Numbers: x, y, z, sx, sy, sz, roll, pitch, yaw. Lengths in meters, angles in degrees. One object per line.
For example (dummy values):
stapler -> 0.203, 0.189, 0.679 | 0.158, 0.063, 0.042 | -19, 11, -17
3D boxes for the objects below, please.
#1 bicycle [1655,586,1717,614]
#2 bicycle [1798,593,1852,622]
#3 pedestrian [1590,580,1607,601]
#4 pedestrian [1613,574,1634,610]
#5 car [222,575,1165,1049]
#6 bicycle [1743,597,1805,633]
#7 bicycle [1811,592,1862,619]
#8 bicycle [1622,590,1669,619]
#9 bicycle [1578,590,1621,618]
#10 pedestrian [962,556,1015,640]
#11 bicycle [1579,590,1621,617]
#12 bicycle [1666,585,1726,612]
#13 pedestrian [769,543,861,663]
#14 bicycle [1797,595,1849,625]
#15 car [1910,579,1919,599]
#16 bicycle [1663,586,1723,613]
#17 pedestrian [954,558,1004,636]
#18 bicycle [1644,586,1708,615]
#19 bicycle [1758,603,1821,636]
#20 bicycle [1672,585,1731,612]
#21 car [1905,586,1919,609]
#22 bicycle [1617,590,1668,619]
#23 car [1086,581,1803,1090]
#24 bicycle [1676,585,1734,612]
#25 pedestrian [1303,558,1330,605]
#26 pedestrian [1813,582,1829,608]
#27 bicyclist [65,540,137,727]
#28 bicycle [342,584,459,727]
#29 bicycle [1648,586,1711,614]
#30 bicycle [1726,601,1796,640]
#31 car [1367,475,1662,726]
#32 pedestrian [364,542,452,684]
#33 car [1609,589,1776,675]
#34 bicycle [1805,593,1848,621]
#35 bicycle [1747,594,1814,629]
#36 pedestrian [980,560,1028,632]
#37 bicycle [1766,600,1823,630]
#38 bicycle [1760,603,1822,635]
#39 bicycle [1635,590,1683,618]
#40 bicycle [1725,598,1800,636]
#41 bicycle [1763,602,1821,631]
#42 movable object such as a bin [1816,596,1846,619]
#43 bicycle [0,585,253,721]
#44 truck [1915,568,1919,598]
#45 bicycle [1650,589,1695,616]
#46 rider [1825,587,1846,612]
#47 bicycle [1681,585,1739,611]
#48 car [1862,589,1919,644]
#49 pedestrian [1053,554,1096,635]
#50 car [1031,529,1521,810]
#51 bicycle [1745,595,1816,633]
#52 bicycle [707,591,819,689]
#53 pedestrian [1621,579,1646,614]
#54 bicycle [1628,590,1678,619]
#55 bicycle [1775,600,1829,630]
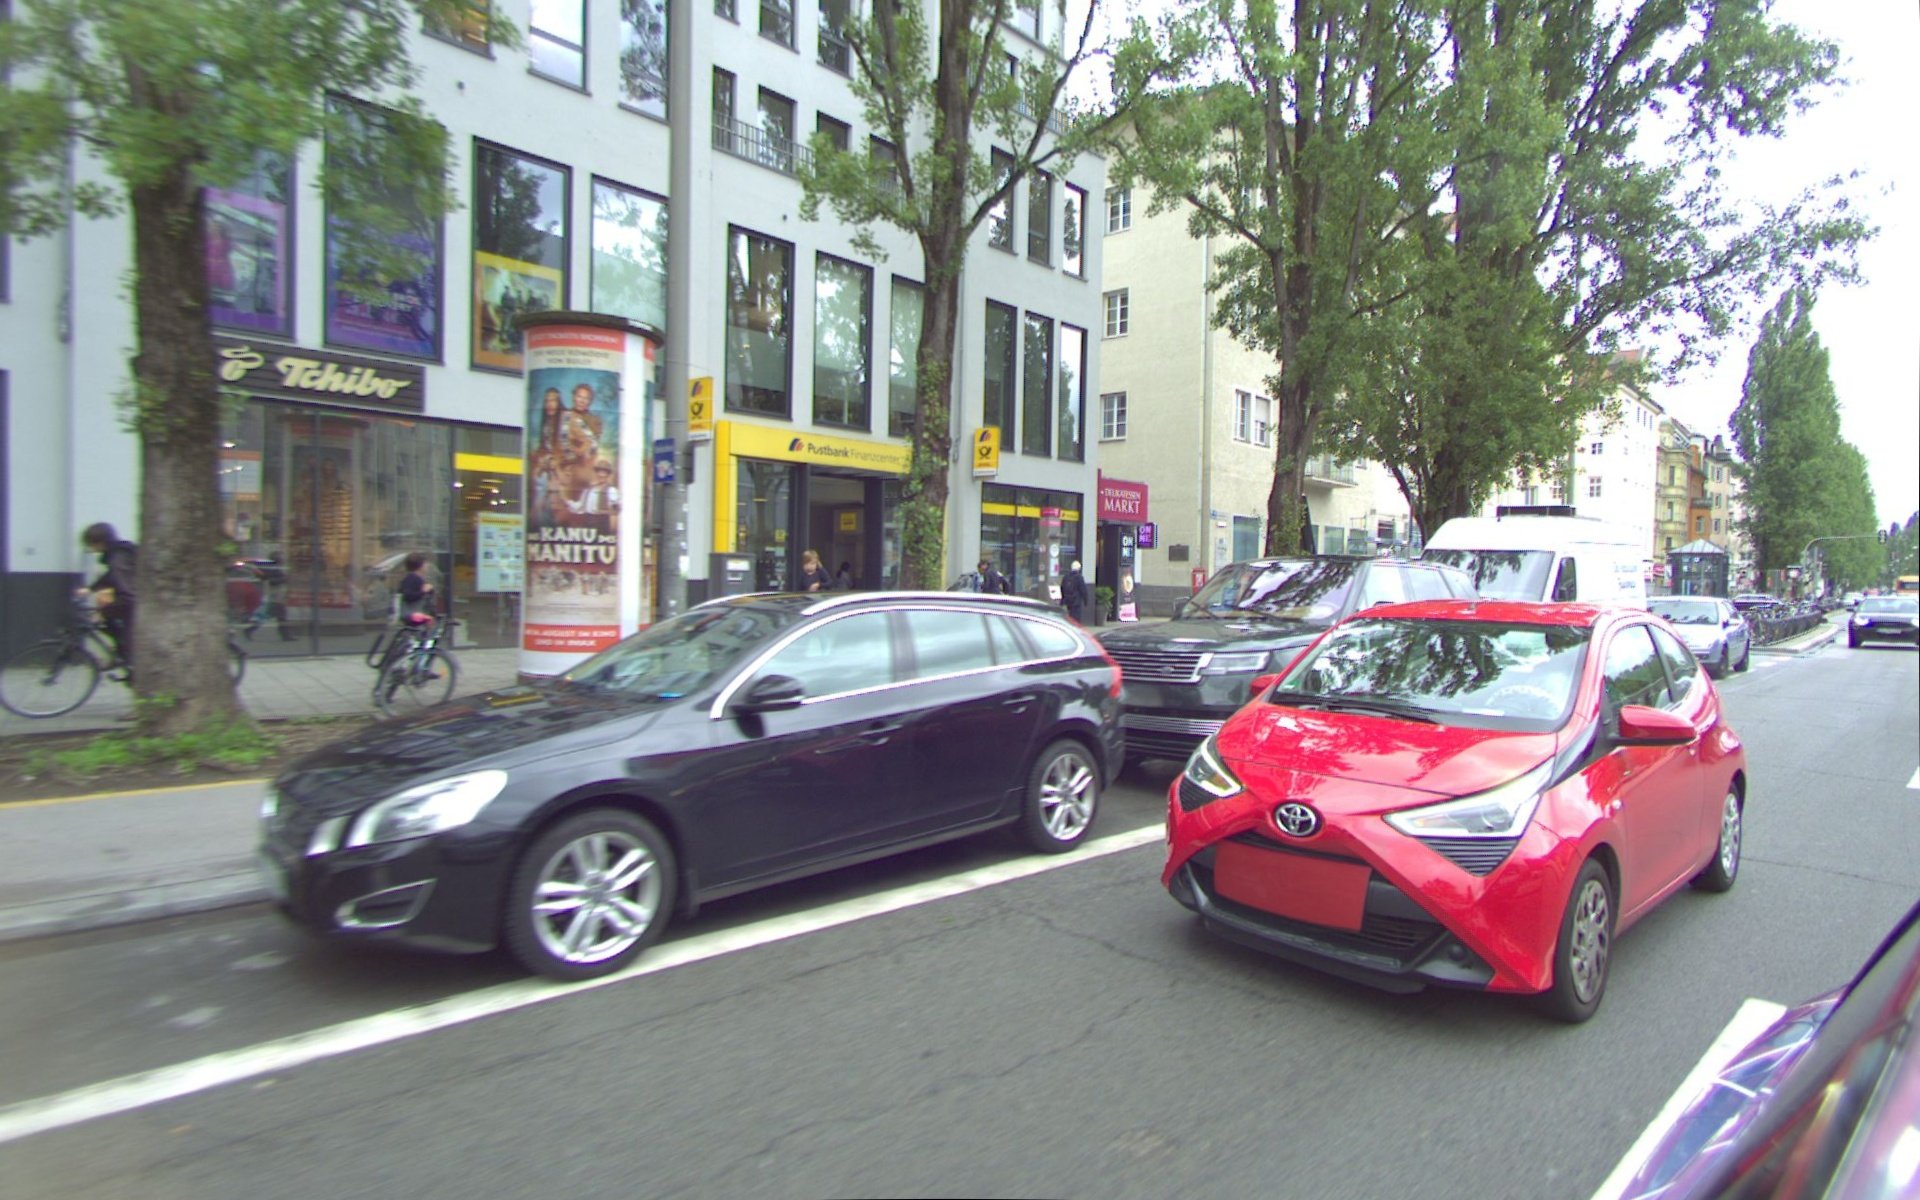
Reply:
bicycle -> 35.121, -0.018, 48.998 | 0.617, 1.242, 2.315 | 0, 2, -42
bicycle -> 36.934, 0.308, 43.253 | 0.578, 1.151, 1.799 | 0, 1, -9
pedestrian -> 39.301, -0.583, 62.289 | 0.699, 1.260, 0.905 | 3, 4, 43
pedestrian -> 30.439, -0.385, 46.431 | 0.654, 1.602, 0.533 | 2, 1, 21
car -> -0.985, 0.633, 5.295 | 4.494, 1.451, 1.773 | 0, 0, -43
bicycle -> 24.787, 0.460, 30.842 | 0.360, 1.068, 1.802 | 0, -2, -2
bicycle -> 39.331, 0.248, 45.427 | 0.468, 1.151, 1.789 | 0, 1, -11
bicycle -> 28.312, 0.177, 41.807 | 1.525, 1.091, 0.404 | 4, 3, 44
bicycle -> 26.775, 0.169, 42.363 | 1.445, 1.091, 0.405 | 4, 3, 37
pedestrian -> 0.583, -0.055, 20.714 | 0.691, 1.669, 0.785 | 3, 2, 45
bicycle -> 27.411, 0.143, 43.362 | 1.445, 1.091, 0.405 | 4, 3, 37
bicycle -> 37.061, -0.071, 50.983 | 0.617, 1.242, 2.315 | 0, 2, -42
pedestrian -> -2.086, 0.025, 14.586 | 1.006, 1.657, 0.800 | 0, 2, -44
bicycle -> 34.657, 0.377, 40.663 | 0.480, 1.151, 1.796 | 0, 1, -1
car -> 84.562, -0.941, 88.708 | 1.854, 1.726, 3.937 | 4, 3, 43
bicycle -> 36.527, -0.057, 50.466 | 0.617, 1.242, 2.328 | 0, 2, -42
pedestrian -> 0.406, -0.076, 21.611 | 0.691, 1.604, 0.760 | 3, 2, 45
bicycle -> 34.031, 0.005, 48.150 | 0.617, 1.242, 2.366 | 0, 2, -42
bicycle -> 27.204, 0.648, 33.228 | 0.378, 1.024, 1.803 | 0, -2, -7
bicycle -> 37.621, -0.082, 51.368 | 0.617, 1.242, 2.315 | 0, 2, -42
car -> 69.605, -0.167, 72.962 | 1.993, 1.660, 3.939 | 3, 2, 42
bicycle -> 28.572, 0.185, 42.393 | 0.403, 1.091, 1.659 | 0, 3, -43
car -> 2.416, 0.655, 4.715 | 3.531, 1.464, 1.669 | -1, 1, -39
bicycle -> 38.094, -0.093, 51.775 | 0.617, 1.242, 2.315 | 0, 2, -42
pedestrian -> 13.038, -0.684, 37.011 | 0.751, 1.671, 0.602 | 0, 2, -39
pedestrian -> 60.659, -0.363, 71.338 | 0.728, 1.823, 0.702 | 3, 4, 36
bicyclist -> -7.040, 0.247, 8.301 | 0.432, 1.466, 0.640 | 0, 2, -40
bicycle -> -5.175, 0.465, 9.431 | 0.875, 1.153, 1.517 | 1, 3, -27
bicycle -> 34.530, -0.007, 48.595 | 0.617, 1.242, 2.341 | 0, 2, -42
bicycle -> 22.275, 0.574, 28.168 | 0.535, 1.068, 1.577 | 0, -2, -7
car -> 7.735, -0.063, 13.813 | 5.463, 2.775, 1.995 | -1, 1, -44
pedestrian -> -6.394, 0.127, 11.726 | 0.738, 1.577, 0.683 | 0, 2, -43
car -> 14.020, 0.536, 19.293 | 4.075, 1.472, 1.728 | 0, 0, -41
bicycle -> 37.391, 0.297, 43.684 | 0.341, 1.151, 1.528 | 0, 1, -9
bicycle -> 26.738, 0.396, 33.008 | 0.535, 1.119, 1.803 | 0, -2, -7
pedestrian -> 0.988, -0.102, 22.836 | 0.765, 1.554, 0.698 | 4, 3, 45
bicycle -> 30.538, 0.576, 37.057 | 0.389, 1.073, 1.803 | 0, -2, -7
bicycle -> 27.598, 0.636, 33.647 | 0.378, 1.024, 1.803 | 0, -2, -7
bicycle -> 30.044, 0.153, 43.526 | 1.601, 1.091, 0.404 | 4, 3, 44
bicycle -> 23.285, 0.499, 29.403 | 0.535, 1.068, 1.803 | 0, -2, -7
bicycle -> 29.573, 0.604, 36.003 | 0.378, 1.024, 1.803 | 0, -2, -7
movable object such as a bin -> 45.178, 0.392, 52.505 | 1.086, 1.075, 0.736 | 5, 4, 42
bicycle -> -7.326, 0.422, 8.904 | 1.772, 1.076, 0.591 | 0, 2, -40
truck -> 119.457, -2.053, 124.576 | 2.536, 3.531, 7.628 | 3, 3, 44
bicycle -> 31.303, 0.117, 44.459 | 1.726, 1.091, 0.411 | 2, 2, -5
rider -> 45.290, -0.037, 52.364 | 0.730, 1.256, 0.722 | 5, 4, 42
bicycle -> 39.055, -0.119, 52.737 | 0.617, 1.242, 2.315 | 0, 2, -42
car -> 27.394, 0.437, 29.397 | 1.735, 1.488, 3.989 | 2, 2, 42
pedestrian -> 2.522, -0.134, 22.318 | 0.725, 1.745, 0.723 | 1, 2, -8
car -> 2.959, 0.416, 8.861 | 4.696, 1.827, 1.932 | -1, 1, -41
bicycle -> 25.332, 0.442, 31.283 | 0.535, 1.119, 1.803 | 0, -2, -7
bicycle -> -2.334, 0.441, 11.934 | 1.296, 1.036, 0.564 | 3, 3, 37
pedestrian -> 34.032, -0.206, 51.134 | 0.727, 1.729, 0.704 | 2, 1, 4
bicycle -> 29.120, 0.179, 42.546 | 0.403, 1.091, 1.638 | 0, 3, -40
bicycle -> 31.058, 0.567, 37.358 | 0.390, 1.073, 1.852 | 0, -2, -1
